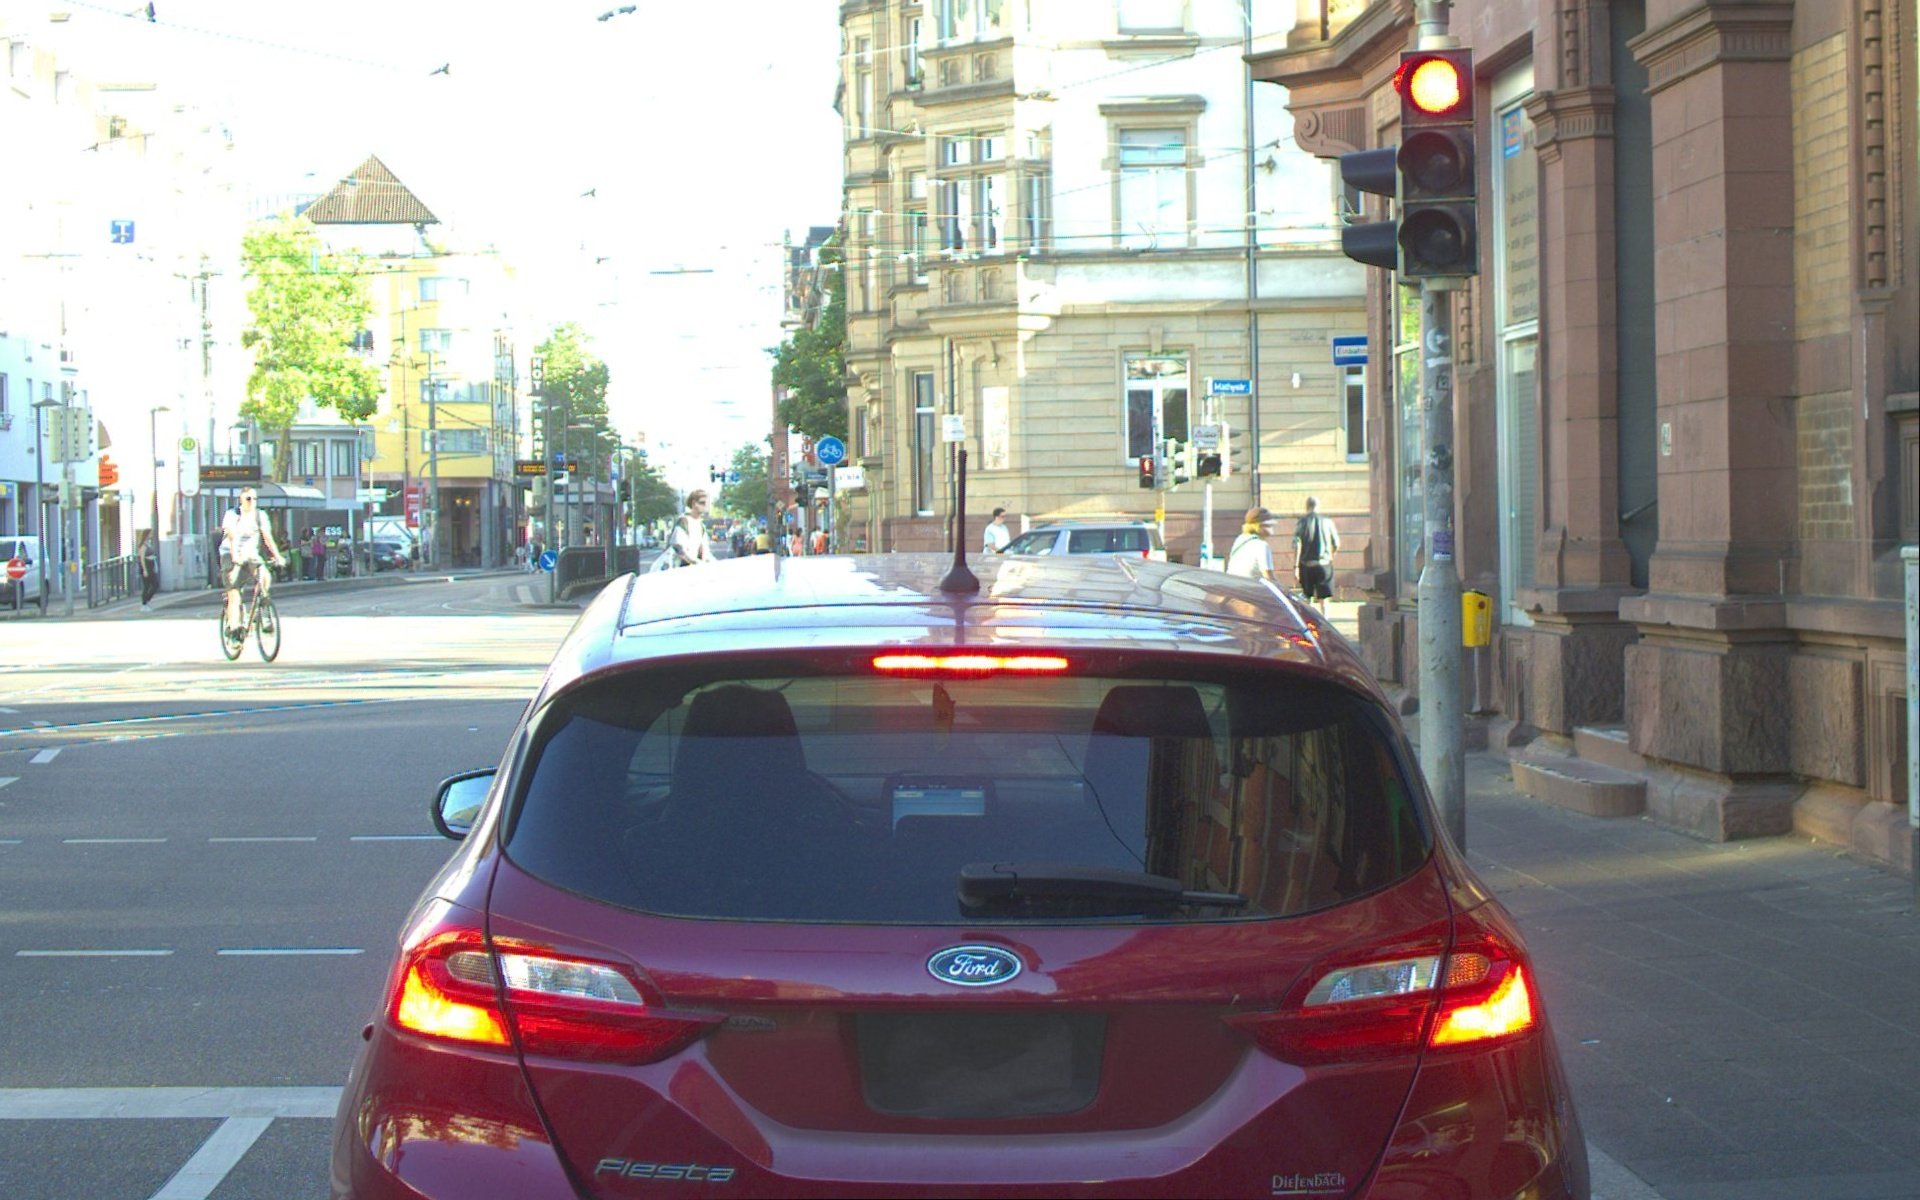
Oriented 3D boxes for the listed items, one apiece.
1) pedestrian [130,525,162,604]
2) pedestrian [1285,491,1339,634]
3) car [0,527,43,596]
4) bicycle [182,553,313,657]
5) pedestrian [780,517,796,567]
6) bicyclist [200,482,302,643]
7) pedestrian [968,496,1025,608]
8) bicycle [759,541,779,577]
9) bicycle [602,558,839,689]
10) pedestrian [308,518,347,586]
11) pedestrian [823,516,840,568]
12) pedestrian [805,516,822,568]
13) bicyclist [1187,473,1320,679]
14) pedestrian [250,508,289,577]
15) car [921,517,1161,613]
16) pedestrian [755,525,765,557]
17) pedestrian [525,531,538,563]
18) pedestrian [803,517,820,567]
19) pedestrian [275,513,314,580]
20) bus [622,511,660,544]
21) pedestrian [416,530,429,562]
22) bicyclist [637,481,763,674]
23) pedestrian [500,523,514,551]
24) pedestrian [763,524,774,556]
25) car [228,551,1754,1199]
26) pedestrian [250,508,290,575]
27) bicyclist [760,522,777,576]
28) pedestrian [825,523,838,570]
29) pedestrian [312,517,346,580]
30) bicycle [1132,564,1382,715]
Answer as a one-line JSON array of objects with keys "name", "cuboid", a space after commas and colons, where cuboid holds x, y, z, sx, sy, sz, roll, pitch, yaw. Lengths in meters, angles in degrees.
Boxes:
[{"name": "pedestrian", "cuboid": [-17.391, -0.757, 73.469, 0.524, 1.676, 0.486, -1, 1, 3]}, {"name": "pedestrian", "cuboid": [4.386, -0.473, 42.891, 0.560, 1.749, 0.650, -2, 1, -1]}, {"name": "car", "cuboid": [-24.542, -0.990, 87.349, 1.701, 1.712, 3.565, -1, 1, -4]}, {"name": "bicycle", "cuboid": [-8.210, 0.046, 39.568, 0.808, 1.143, 2.010, -2, 1, -32]}, {"name": "pedestrian", "cuboid": [-6.902, -2.338, 138.045, 0.577, 2.007, 0.631, -1, 1, 3]}, {"name": "bicyclist", "cuboid": [-8.136, -0.436, 39.432, 0.808, 1.815, 0.993, -2, 1, -32]}, {"name": "pedestrian", "cuboid": [0.657, -0.861, 61.623, 0.758, 2.007, 0.652, 0, 1, 33]}, {"name": "bicycle", "cuboid": [-5.873, -1.272, 105.705, 0.526, 1.085, 1.486, -1, 1, -1]}, {"name": "bicycle", "cuboid": [-2.172, 0.204, 31.117, 2.046, 1.143, 0.809, 0, 1, 32]}, {"name": "pedestrian", "cuboid": [-18.965, -1.450, 103.125, 1.045, 2.007, 0.959, -1, 1, -5]}, {"name": "pedestrian", "cuboid": [-5.038, -2.282, 134.628, 0.577, 2.007, 0.631, -1, 1, 3]}, {"name": "pedestrian", "cuboid": [-5.698, -2.274, 133.626, 0.577, 2.007, 0.631, -1, 1, 3]}, {"name": "bicyclist", "cuboid": [2.349, -0.194, 27.516, 0.729, 1.621, 0.766, 0, 1, -33]}, {"name": "pedestrian", "cuboid": [-20.200, -1.682, 100.599, 0.956, 2.007, 1.049, -1, 1, -3]}, {"name": "car", "cuboid": [1.393, -0.602, 58.609, 3.897, 1.543, 1.454, -1, 1, 10]}, {"name": "pedestrian", "cuboid": [-11.874, -3.499, 203.947, 0.577, 1.880, 0.669, -1, 1, -3]}, {"name": "pedestrian", "cuboid": [-19.975, -2.467, 160.372, 0.524, 1.483, 0.583, -1, 1, -1]}, {"name": "pedestrian", "cuboid": [-5.960, -2.334, 138.232, 0.577, 2.007, 0.631, -1, 1, 3]}, {"name": "pedestrian", "cuboid": [-20.273, -1.641, 104.761, 1.045, 2.007, 0.959, -1, 1, -5]}, {"name": "bus", "cuboid": [-20.102, -4.585, 217.143, 1.925, 2.007, 7.138, -1, 1, -2]}, {"name": "pedestrian", "cuboid": [-25.332, -2.531, 162.024, 0.580, 1.483, 0.526, -1, 1, -5]}, {"name": "bicyclist", "cuboid": [-2.358, -0.208, 31.215, 0.793, 1.720, 0.809, 0, 1, 32]}, {"name": "pedestrian", "cuboid": [-25.939, -3.612, 196.780, 0.628, 1.599, 0.579, -1, 1, -20]}, {"name": "pedestrian", "cuboid": [-11.169, -3.502, 200.614, 0.577, 1.880, 0.631, -1, 1, -3]}, {"name": "car", "cuboid": [-0.127, 0.665, 5.919, 1.754, 1.461, 3.946, 1, 1, -5]}, {"name": "pedestrian", "cuboid": [-20.693, -1.755, 103.053, 1.045, 2.007, 0.959, -1, 1, -5]}, {"name": "bicyclist", "cuboid": [-5.879, -1.567, 105.615, 0.499, 1.670, 0.545, -1, 1, -2]}, {"name": "pedestrian", "cuboid": [-4.623, -1.939, 123.859, 0.413, 1.674, 0.485, -1, 1, -1]}, {"name": "pedestrian", "cuboid": [-20.510, -1.672, 111.757, 0.956, 2.007, 1.049, -1, 1, -5]}, {"name": "bicycle", "cuboid": [2.394, 0.308, 27.580, 2.018, 1.173, 0.628, 0, 1, -33]}]
